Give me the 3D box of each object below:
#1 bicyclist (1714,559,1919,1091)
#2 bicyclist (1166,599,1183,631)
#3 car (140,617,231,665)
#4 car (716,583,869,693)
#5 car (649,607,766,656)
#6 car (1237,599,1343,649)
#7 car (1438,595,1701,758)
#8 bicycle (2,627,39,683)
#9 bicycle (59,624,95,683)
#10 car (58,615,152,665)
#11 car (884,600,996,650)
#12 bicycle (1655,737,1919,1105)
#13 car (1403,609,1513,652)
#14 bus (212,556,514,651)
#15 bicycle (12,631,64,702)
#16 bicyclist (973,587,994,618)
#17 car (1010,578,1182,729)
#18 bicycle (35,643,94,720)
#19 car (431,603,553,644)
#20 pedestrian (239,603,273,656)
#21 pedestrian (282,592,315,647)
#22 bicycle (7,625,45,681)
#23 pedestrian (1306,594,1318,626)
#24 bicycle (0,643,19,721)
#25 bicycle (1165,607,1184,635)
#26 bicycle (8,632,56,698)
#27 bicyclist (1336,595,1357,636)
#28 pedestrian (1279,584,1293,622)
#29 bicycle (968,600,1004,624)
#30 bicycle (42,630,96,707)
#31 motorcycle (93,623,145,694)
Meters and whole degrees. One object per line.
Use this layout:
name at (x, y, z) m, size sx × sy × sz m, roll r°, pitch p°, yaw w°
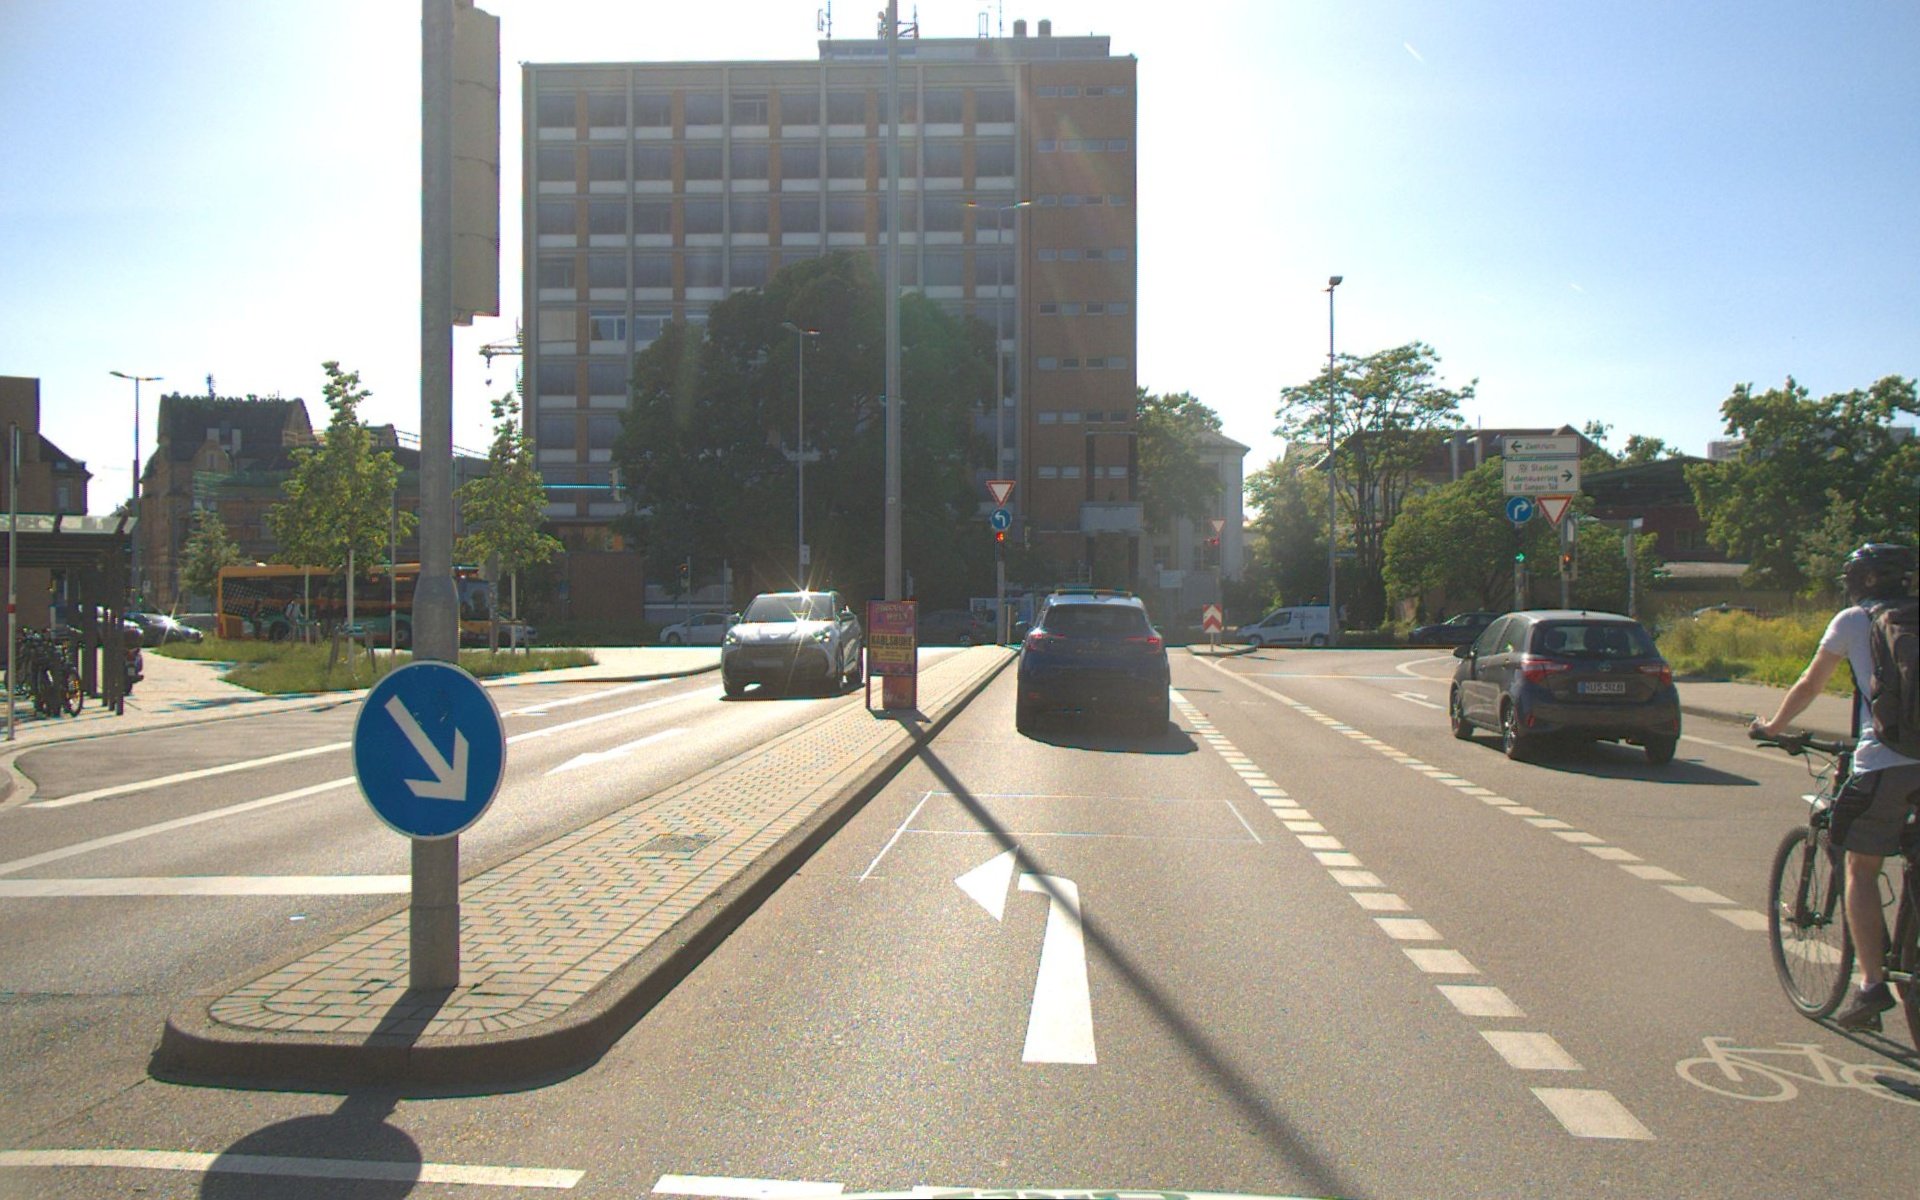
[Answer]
bicyclist at (3.217, 0.709, 5.695) m, size 0.707 × 1.654 × 1.054 m, roll 1°, pitch -1°, yaw -3°
bicyclist at (12.222, 0.864, 94.150) m, size 0.863 × 1.829 × 1.161 m, roll 0°, pitch -2°, yaw 3°
car at (-34.330, 1.815, 73.309) m, size 3.920 × 2.049 × 2.003 m, roll -1°, pitch -2°, yaw 36°
car at (-2.638, 0.567, 27.058) m, size 1.780 × 1.596 × 4.252 m, roll -2°, pitch 0°, yaw 3°
car at (-10.853, 1.374, 71.306) m, size 4.551 × 2.049 × 2.001 m, roll 0°, pitch -2°, yaw 12°
car at (13.841, 1.001, 69.263) m, size 4.255 × 2.049 × 2.001 m, roll 0°, pitch -2°, yaw 14°
car at (6.524, 0.787, 18.103) m, size 1.719 × 1.569 × 3.660 m, roll 1°, pitch -1°, yaw 3°
bicycle at (-18.853, 1.101, 33.212) m, size 0.574 × 1.107 × 1.854 m, roll 2°, pitch -2°, yaw -28°
bicycle at (-17.133, 1.038, 32.099) m, size 0.574 × 1.107 × 1.854 m, roll 2°, pitch -2°, yaw -28°
car at (-36.155, 1.693, 69.933) m, size 3.920 × 2.049 × 2.003 m, roll -1°, pitch -2°, yaw 36°
car at (-0.806, 1.045, 69.007) m, size 4.279 × 2.049 × 2.001 m, roll 0°, pitch -2°, yaw 14°
bicycle at (3.217, 1.045, 5.760) m, size 0.708 × 0.976 × 1.882 m, roll 1°, pitch 0°, yaw -3°
car at (19.290, 1.198, 64.168) m, size 4.027 × 1.614 × 1.881 m, roll 0°, pitch -2°, yaw 16°
bus at (-23.130, 0.193, 63.817) m, size 12.153 × 3.456 × 2.881 m, roll 0°, pitch -2°, yaw 23°
bicycle at (-14.897, 1.068, 26.751) m, size 0.573 × 1.107 × 2.041 m, roll 1°, pitch -2°, yaw -26°
bicyclist at (1.132, 0.141, 78.816) m, size 0.809 × 1.469 × 0.613 m, roll 0°, pitch 0°, yaw -33°
car at (1.565, 0.611, 20.158) m, size 1.786 × 1.628 × 3.658 m, roll 1°, pitch -1°, yaw 0°
bicycle at (-11.929, 1.071, 22.062) m, size 0.573 × 0.978 × 2.041 m, roll 1°, pitch -2°, yaw -26°
car at (-18.519, 0.942, 65.412) m, size 4.306 × 1.548 × 1.970 m, roll 0°, pitch -2°, yaw 21°
pedestrian at (-23.623, 1.001, 55.497) m, size 0.640 × 1.772 × 0.788 m, roll 0°, pitch -2°, yaw 20°
pedestrian at (-21.769, 0.644, 54.450) m, size 0.612 × 1.772 × 0.788 m, roll 0°, pitch -2°, yaw 20°
bicycle at (-18.883, 1.068, 33.451) m, size 0.573 × 1.107 × 1.854 m, roll 2°, pitch -2°, yaw -27°
pedestrian at (18.494, 0.534, 86.891) m, size 0.564 × 1.699 × 0.562 m, roll 0°, pitch -2°, yaw 14°
bicycle at (-12.689, 1.048, 21.564) m, size 0.573 × 0.978 × 2.041 m, roll 1°, pitch -2°, yaw -26°
bicycle at (12.213, 1.197, 94.146) m, size 0.863 × 1.568 × 2.811 m, roll 0°, pitch -2°, yaw 3°
bicycle at (-16.074, 1.114, 28.665) m, size 0.573 × 1.107 × 1.999 m, roll 1°, pitch -2°, yaw -26°
bicyclist at (17.886, 0.735, 76.580) m, size 0.838 × 1.879 × 0.851 m, roll 0°, pitch -2°, yaw 20°
pedestrian at (14.994, 0.146, 76.046) m, size 0.548 × 1.699 × 0.476 m, roll 0°, pitch -2°, yaw 19°
bicycle at (1.230, 0.580, 78.875) m, size 1.651 × 1.112 × 0.603 m, roll -1°, pitch 0°, yaw -34°
bicycle at (-12.851, 0.975, 23.896) m, size 0.573 × 1.070 × 1.956 m, roll 1°, pitch -2°, yaw -26°
motorcycle at (-14.689, 1.018, 28.865) m, size 0.546 × 1.197 × 1.898 m, roll 2°, pitch -2°, yaw -34°
